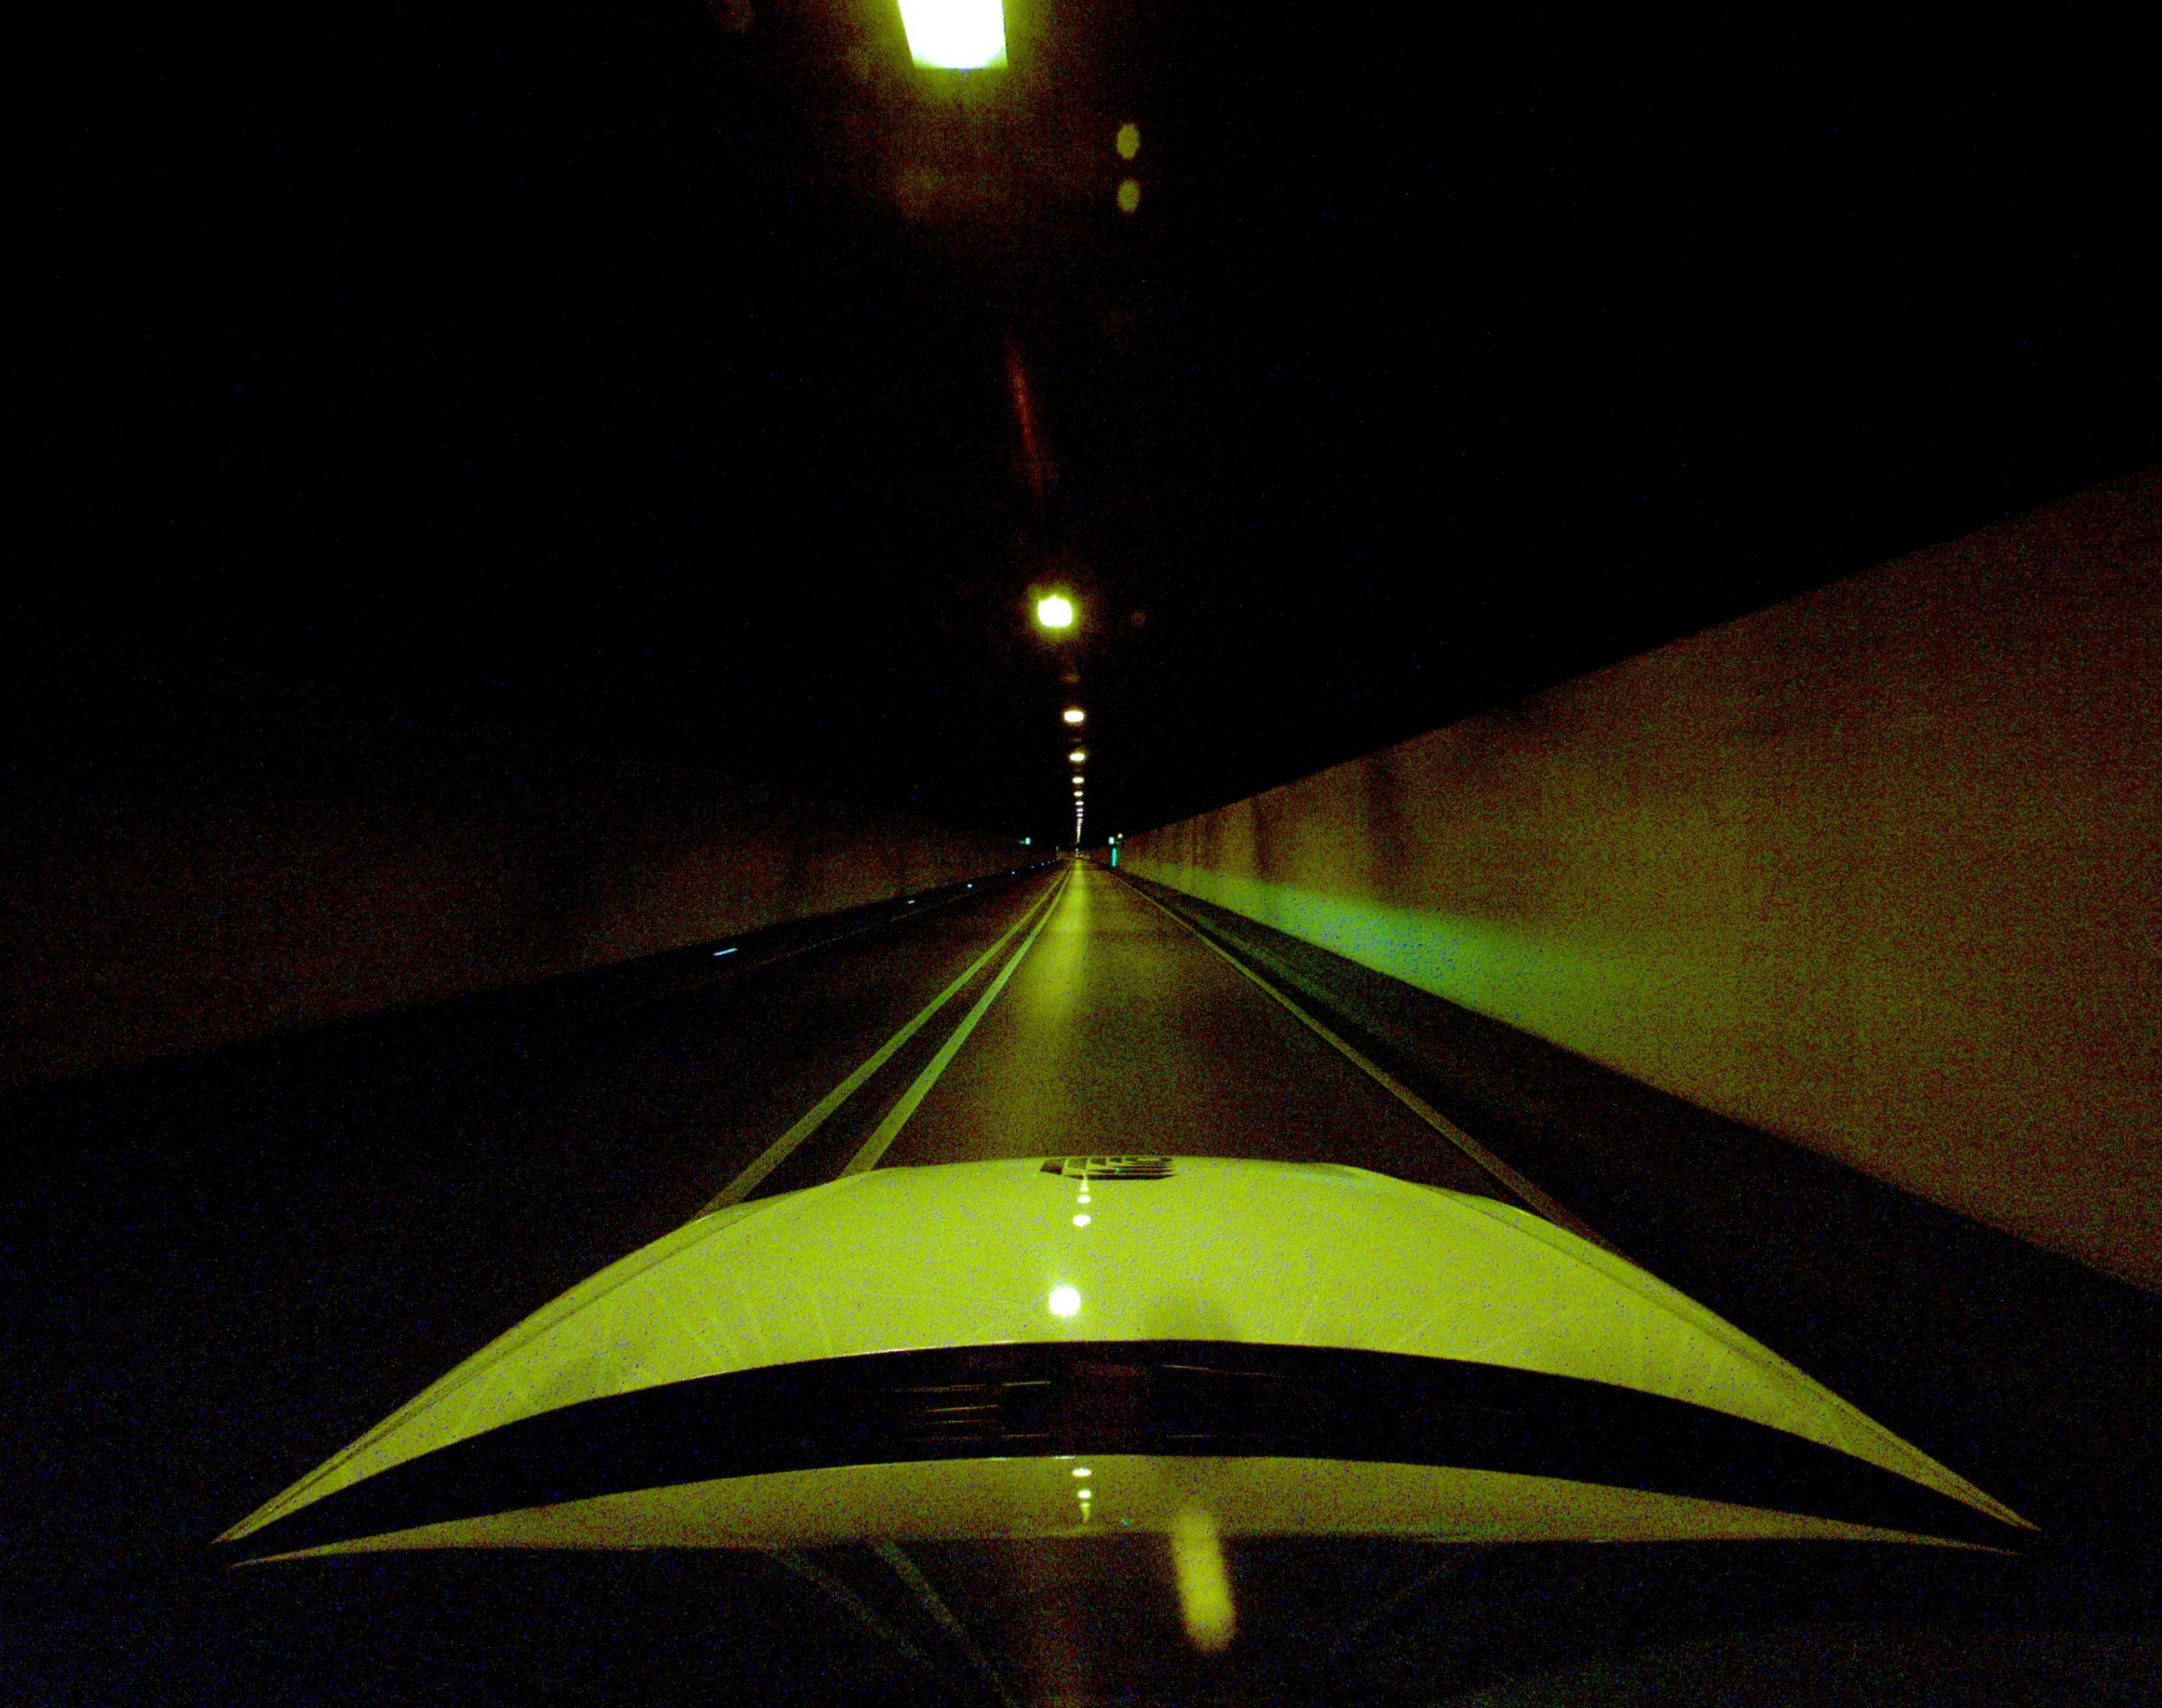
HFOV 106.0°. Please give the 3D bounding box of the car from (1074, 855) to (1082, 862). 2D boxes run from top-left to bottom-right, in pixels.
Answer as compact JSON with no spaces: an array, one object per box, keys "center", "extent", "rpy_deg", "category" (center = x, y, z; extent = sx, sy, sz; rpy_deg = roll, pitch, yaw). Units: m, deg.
[{"center":[-0.819,1.187,228.022],"extent":[1.964,1.939,4.604],"rpy_deg":[0,-1,-5],"category":"car"}]
